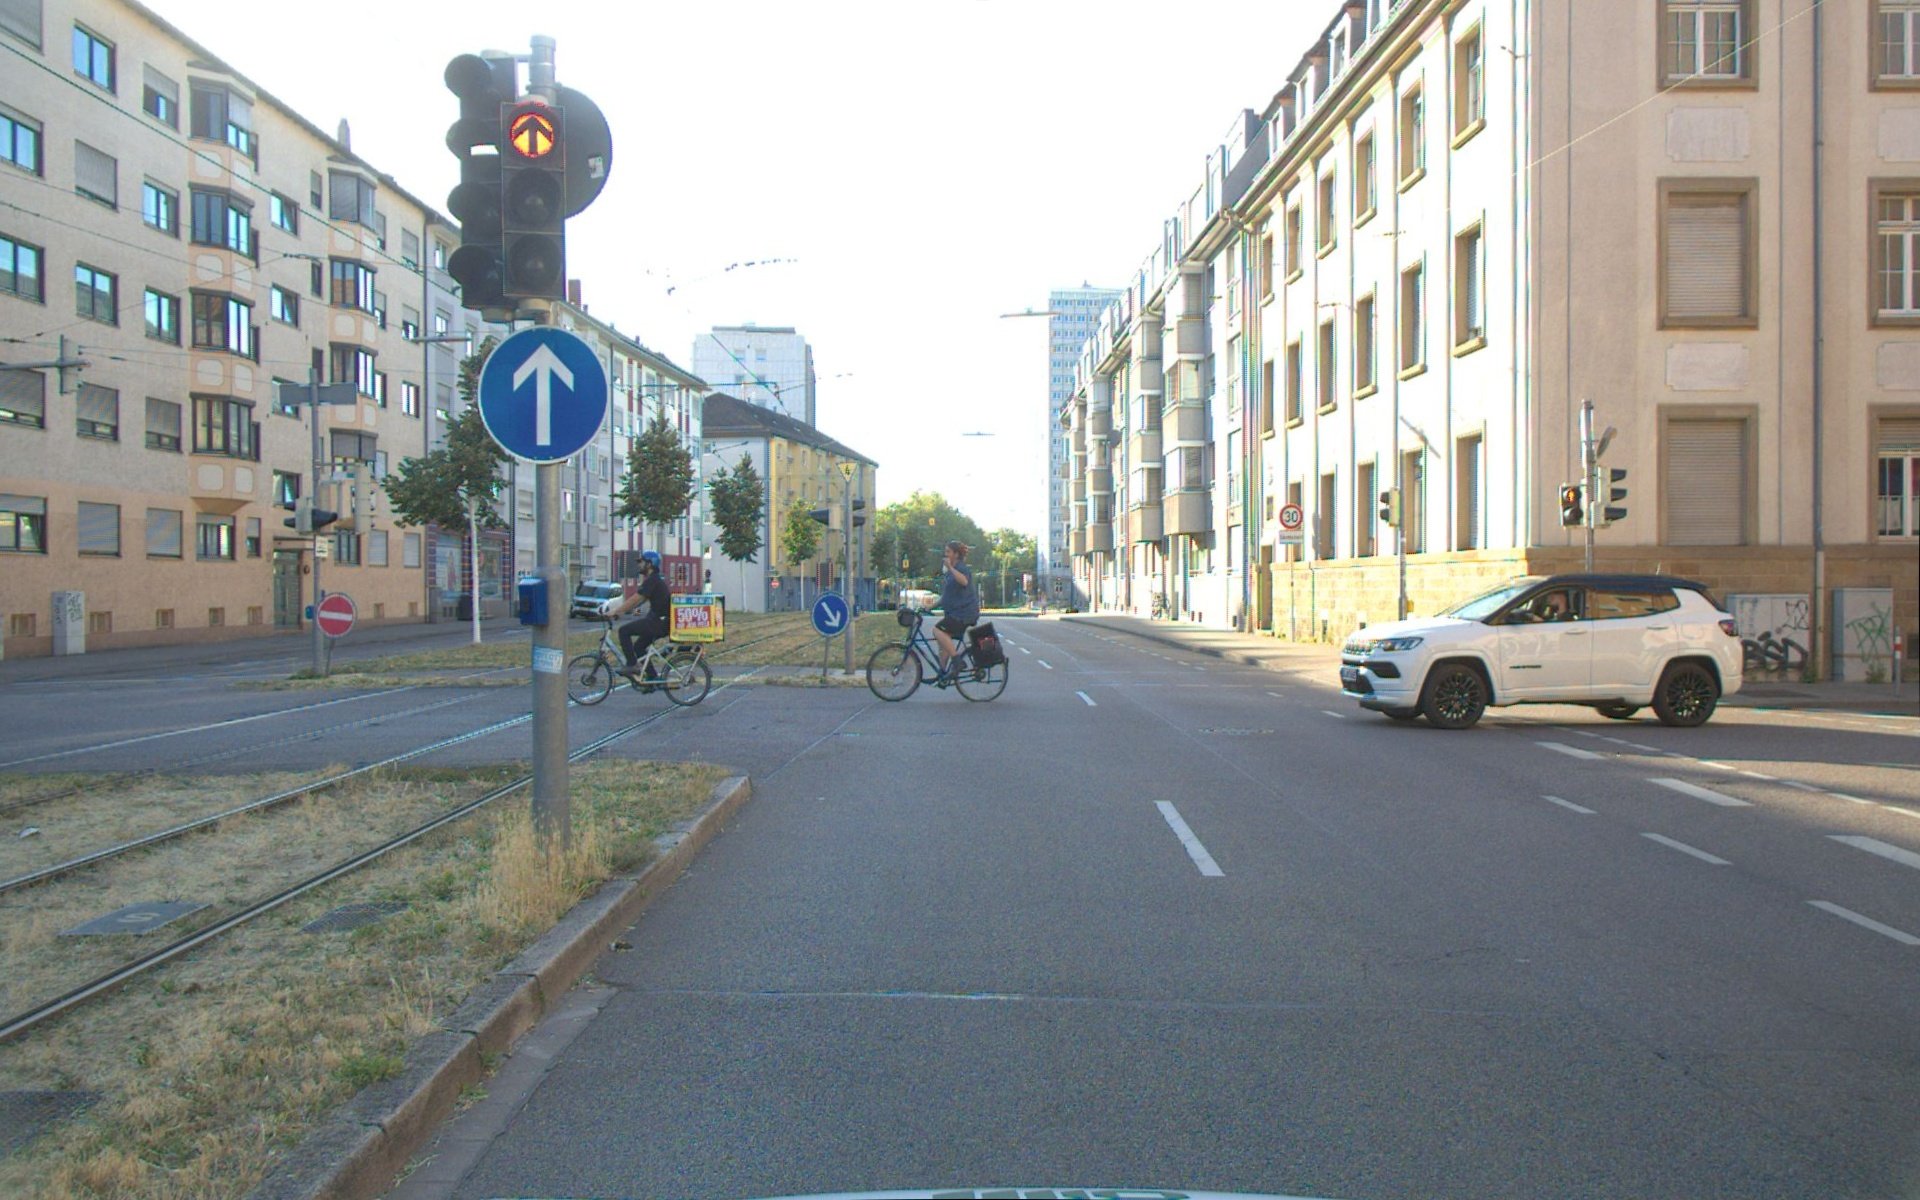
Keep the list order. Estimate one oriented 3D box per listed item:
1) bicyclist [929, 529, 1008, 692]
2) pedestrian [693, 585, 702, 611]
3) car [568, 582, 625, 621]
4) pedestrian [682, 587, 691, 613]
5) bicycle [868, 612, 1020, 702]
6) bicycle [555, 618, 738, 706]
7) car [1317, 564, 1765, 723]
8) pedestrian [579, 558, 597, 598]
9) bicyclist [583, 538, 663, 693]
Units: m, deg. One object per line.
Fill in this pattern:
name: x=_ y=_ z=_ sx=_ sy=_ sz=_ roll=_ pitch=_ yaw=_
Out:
bicyclist: x=0.104 y=0.131 z=21.048 sx=0.940 sy=2.023 sz=0.672 roll=-1 pitch=0 yaw=-4
pedestrian: x=-17.372 y=-0.126 z=109.517 sx=0.485 sy=1.687 sz=0.408 roll=-1 pitch=0 yaw=-1
car: x=-17.776 y=0.100 z=81.043 sx=1.774 sy=1.829 sz=4.245 roll=1 pitch=0 yaw=1
pedestrian: x=-18.021 y=0.017 z=109.089 sx=0.485 sy=1.687 sz=0.408 roll=-1 pitch=0 yaw=-1
bicycle: x=-0.218 y=0.721 z=21.096 sx=1.905 sy=1.113 sz=0.575 roll=1 pitch=0 yaw=-4
bicycle: x=-3.693 y=0.724 z=19.593 sx=2.031 sy=0.975 sz=0.746 roll=-1 pitch=0 yaw=-4
car: x=6.419 y=0.455 z=18.577 sx=4.332 sy=1.670 sz=1.998 roll=0 pitch=0 yaw=-5
pedestrian: x=-19.411 y=-1.150 z=86.256 sx=0.771 sy=2.049 sz=0.890 roll=0 pitch=0 yaw=-4
bicyclist: x=-3.987 y=0.185 z=19.603 sx=0.777 sy=1.784 sz=0.720 roll=1 pitch=-1 yaw=-3
